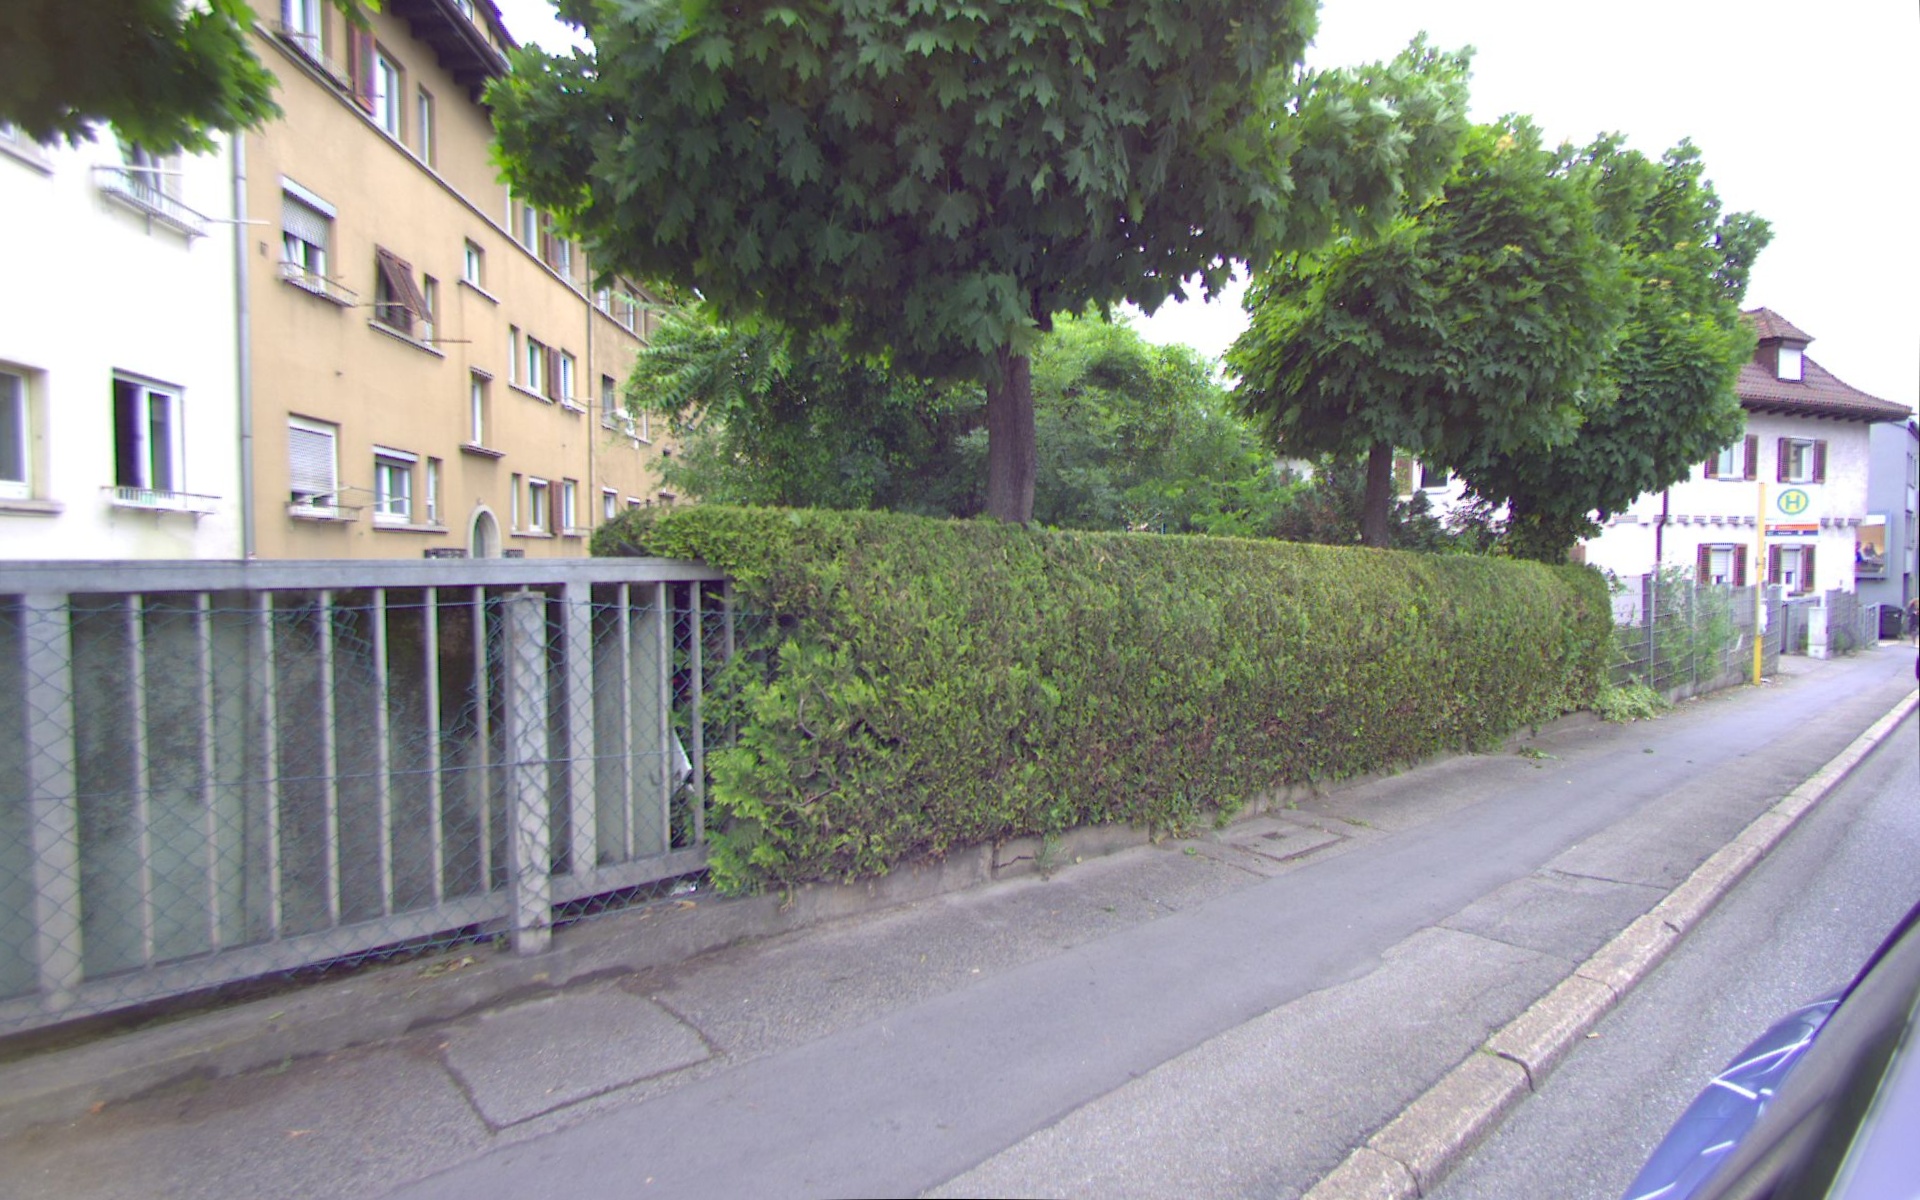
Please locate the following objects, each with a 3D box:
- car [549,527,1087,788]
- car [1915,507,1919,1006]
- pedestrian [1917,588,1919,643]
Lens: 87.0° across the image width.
[{"bbox_3d":[-1.016,0.305,7.089,3.367,1.478,1.705,0,0,-20],"label":"car"},{"bbox_3d":[5.805,0.545,4.468,4.629,1.804,1.861,-1,0,-41],"label":"car"},{"bbox_3d":[33.260,0.545,34.581,0.580,1.863,0.648,1,0,-30],"label":"pedestrian"}]
